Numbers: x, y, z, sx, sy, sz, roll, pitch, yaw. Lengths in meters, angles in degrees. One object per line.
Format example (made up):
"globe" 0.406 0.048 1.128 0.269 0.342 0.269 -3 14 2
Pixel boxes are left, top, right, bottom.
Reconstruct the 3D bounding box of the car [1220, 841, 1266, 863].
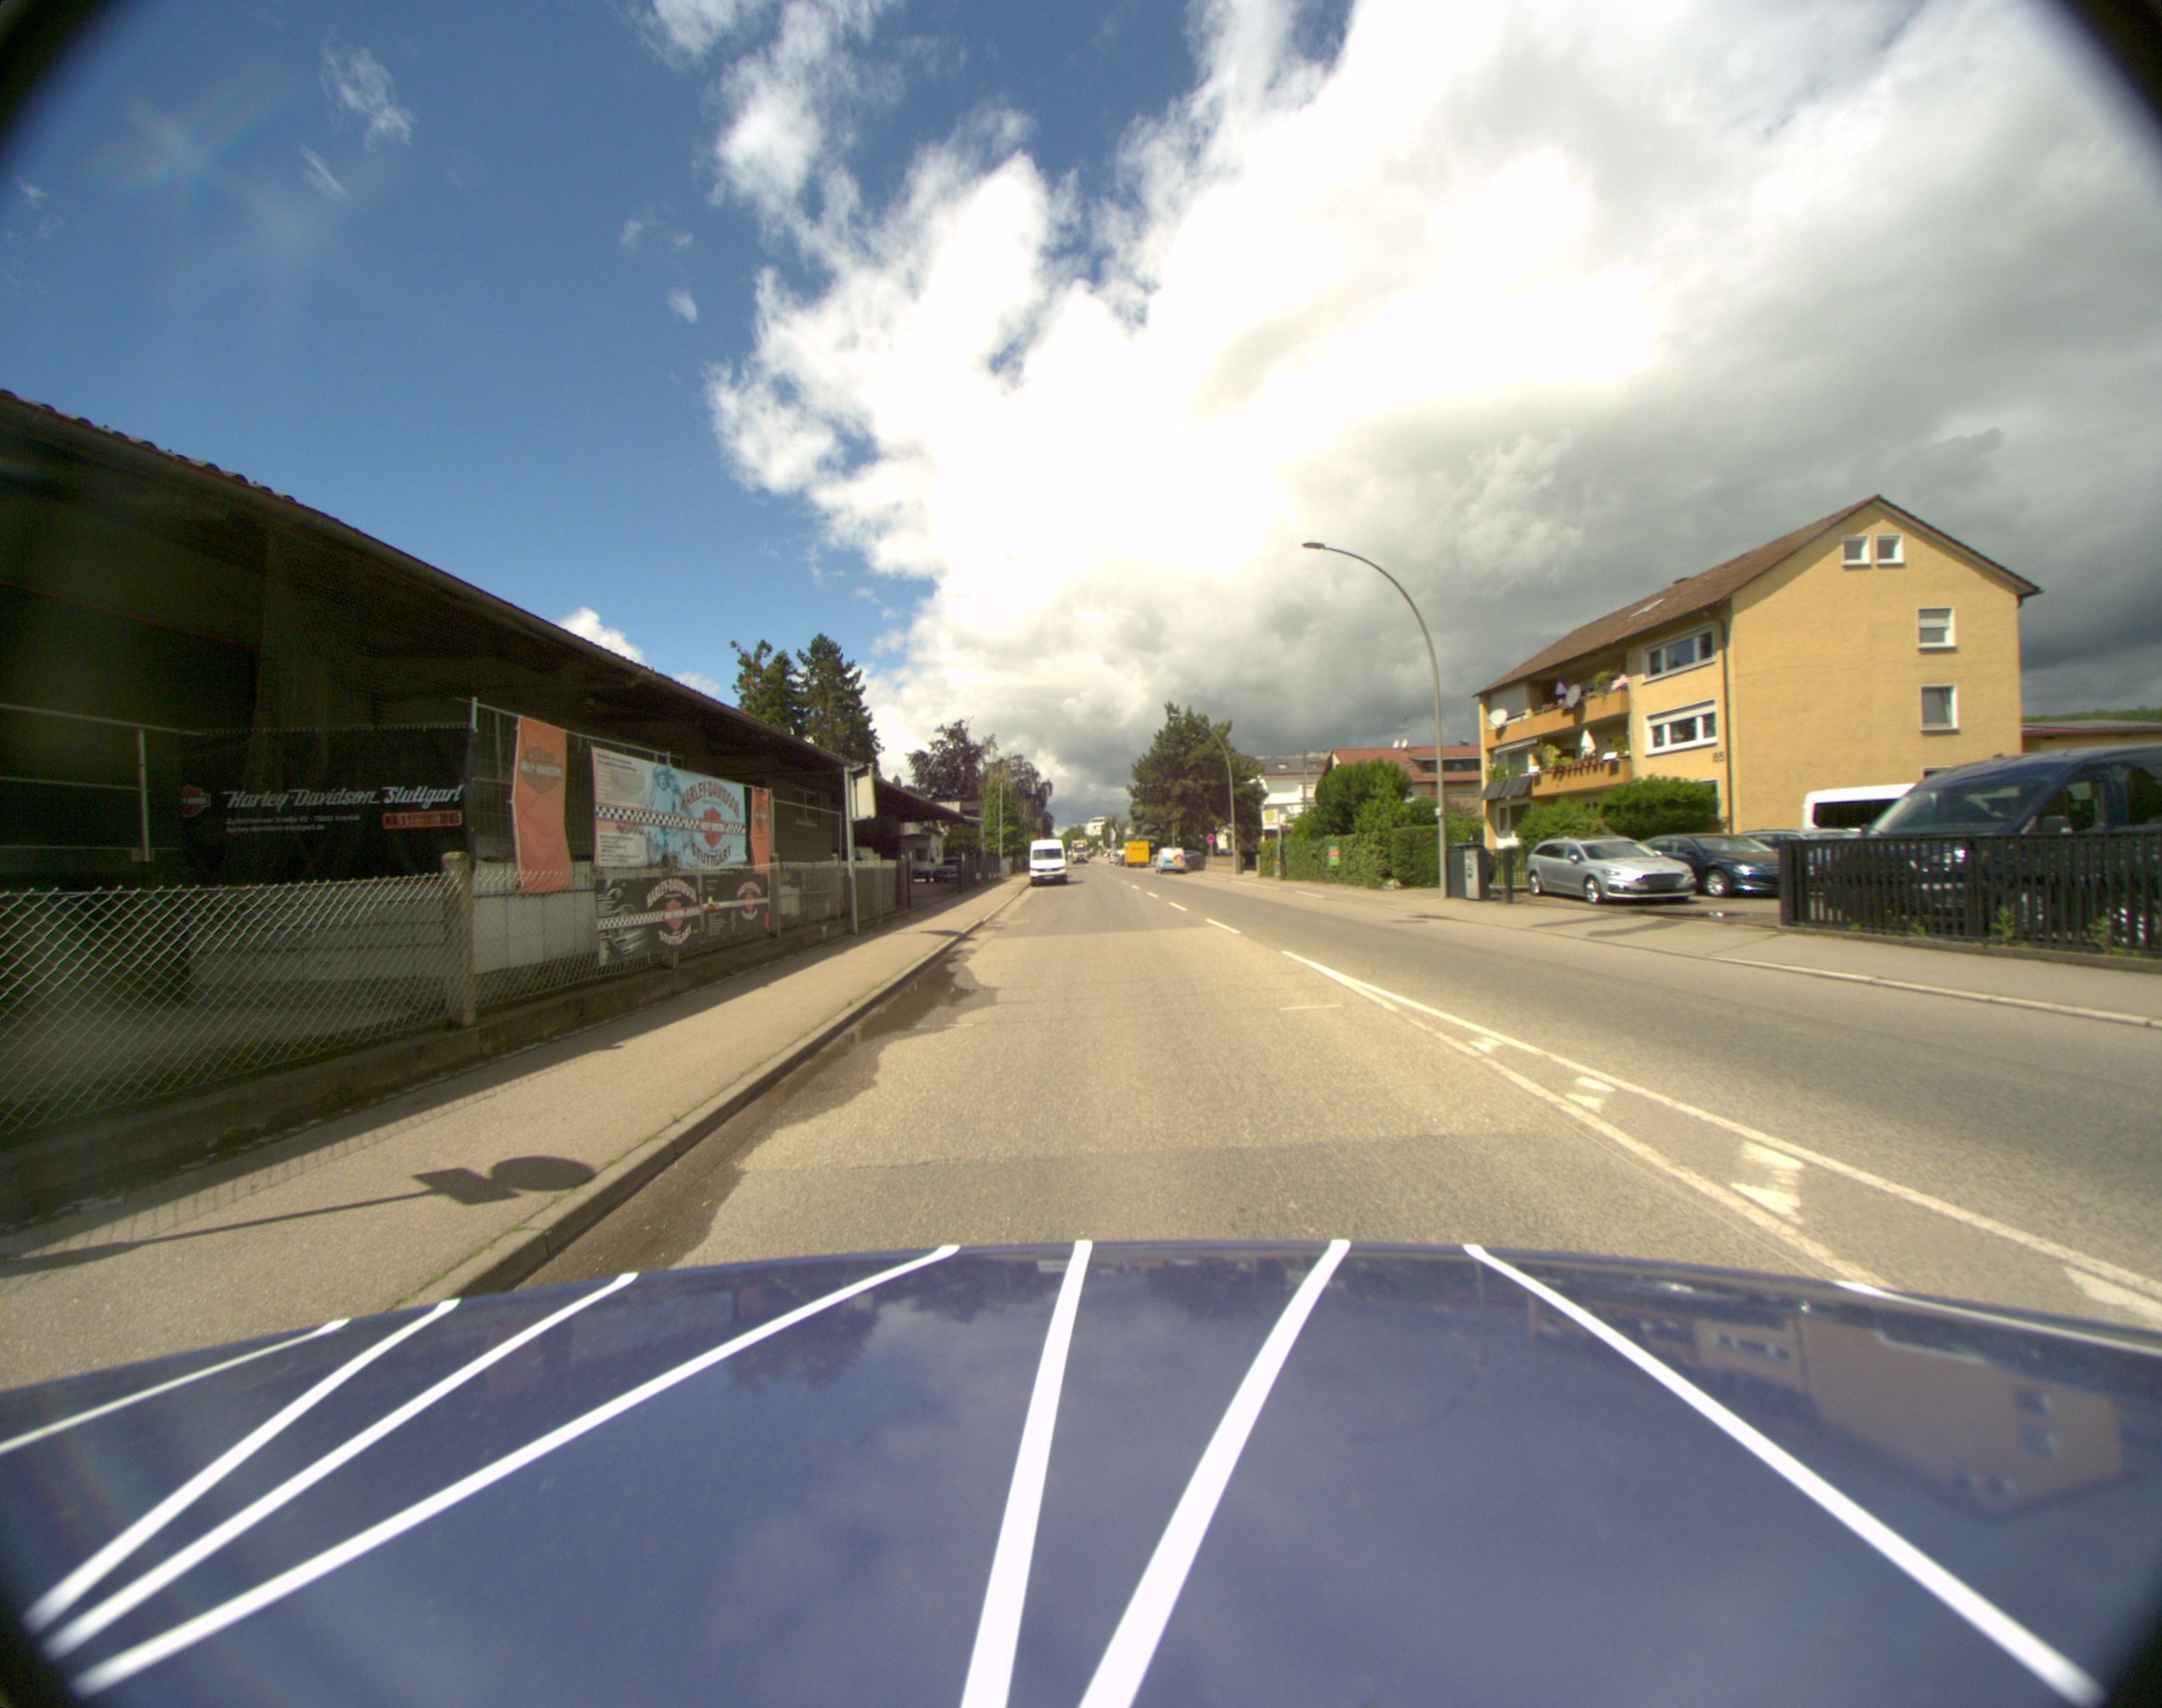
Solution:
"car" 15.292 -0.160 71.842 2.003 2.002 3.990 -3 1 -32

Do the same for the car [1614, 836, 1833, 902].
"car" 15.104 0.293 18.196 1.885 1.334 3.999 -2 1 1

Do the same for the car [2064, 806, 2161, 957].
"car" 12.384 0.275 7.067 1.813 1.612 3.621 -2 1 1

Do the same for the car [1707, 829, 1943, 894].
"car" 17.912 0.139 18.608 1.883 1.364 3.999 -2 1 1

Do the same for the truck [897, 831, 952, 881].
"truck" -9.475 0.088 46.391 2.091 2.812 5.202 -2 1 1

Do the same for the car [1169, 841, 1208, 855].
"car" 14.164 -0.760 99.986 4.735 1.669 2.218 -2 1 -1

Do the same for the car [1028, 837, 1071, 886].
"car" -1.704 0.359 43.184 2.091 2.519 5.202 -2 1 1

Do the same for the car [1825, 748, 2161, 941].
"car" 14.224 -0.188 10.671 5.363 2.371 2.104 -2 1 2

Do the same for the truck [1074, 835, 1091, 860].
"truck" 0.344 -1.115 126.897 2.664 3.789 9.814 -2 1 1

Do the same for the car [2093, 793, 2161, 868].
"car" 28.713 -0.634 18.814 1.998 1.915 3.999 -2 1 1

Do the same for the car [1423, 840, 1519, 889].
"car" 14.628 0.351 28.727 1.831 1.656 3.522 -2 1 1

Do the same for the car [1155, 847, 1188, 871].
"car" 6.534 0.329 55.135 1.730 1.671 3.999 -2 1 -2

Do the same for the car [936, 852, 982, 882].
"car" -7.140 0.718 44.827 1.863 1.521 5.202 -2 1 0

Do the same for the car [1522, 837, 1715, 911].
"car" 12.340 0.387 17.848 1.887 1.450 4.352 -3 1 8

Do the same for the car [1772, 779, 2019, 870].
"car" 20.432 -0.697 19.358 1.998 2.002 3.999 -2 1 1
